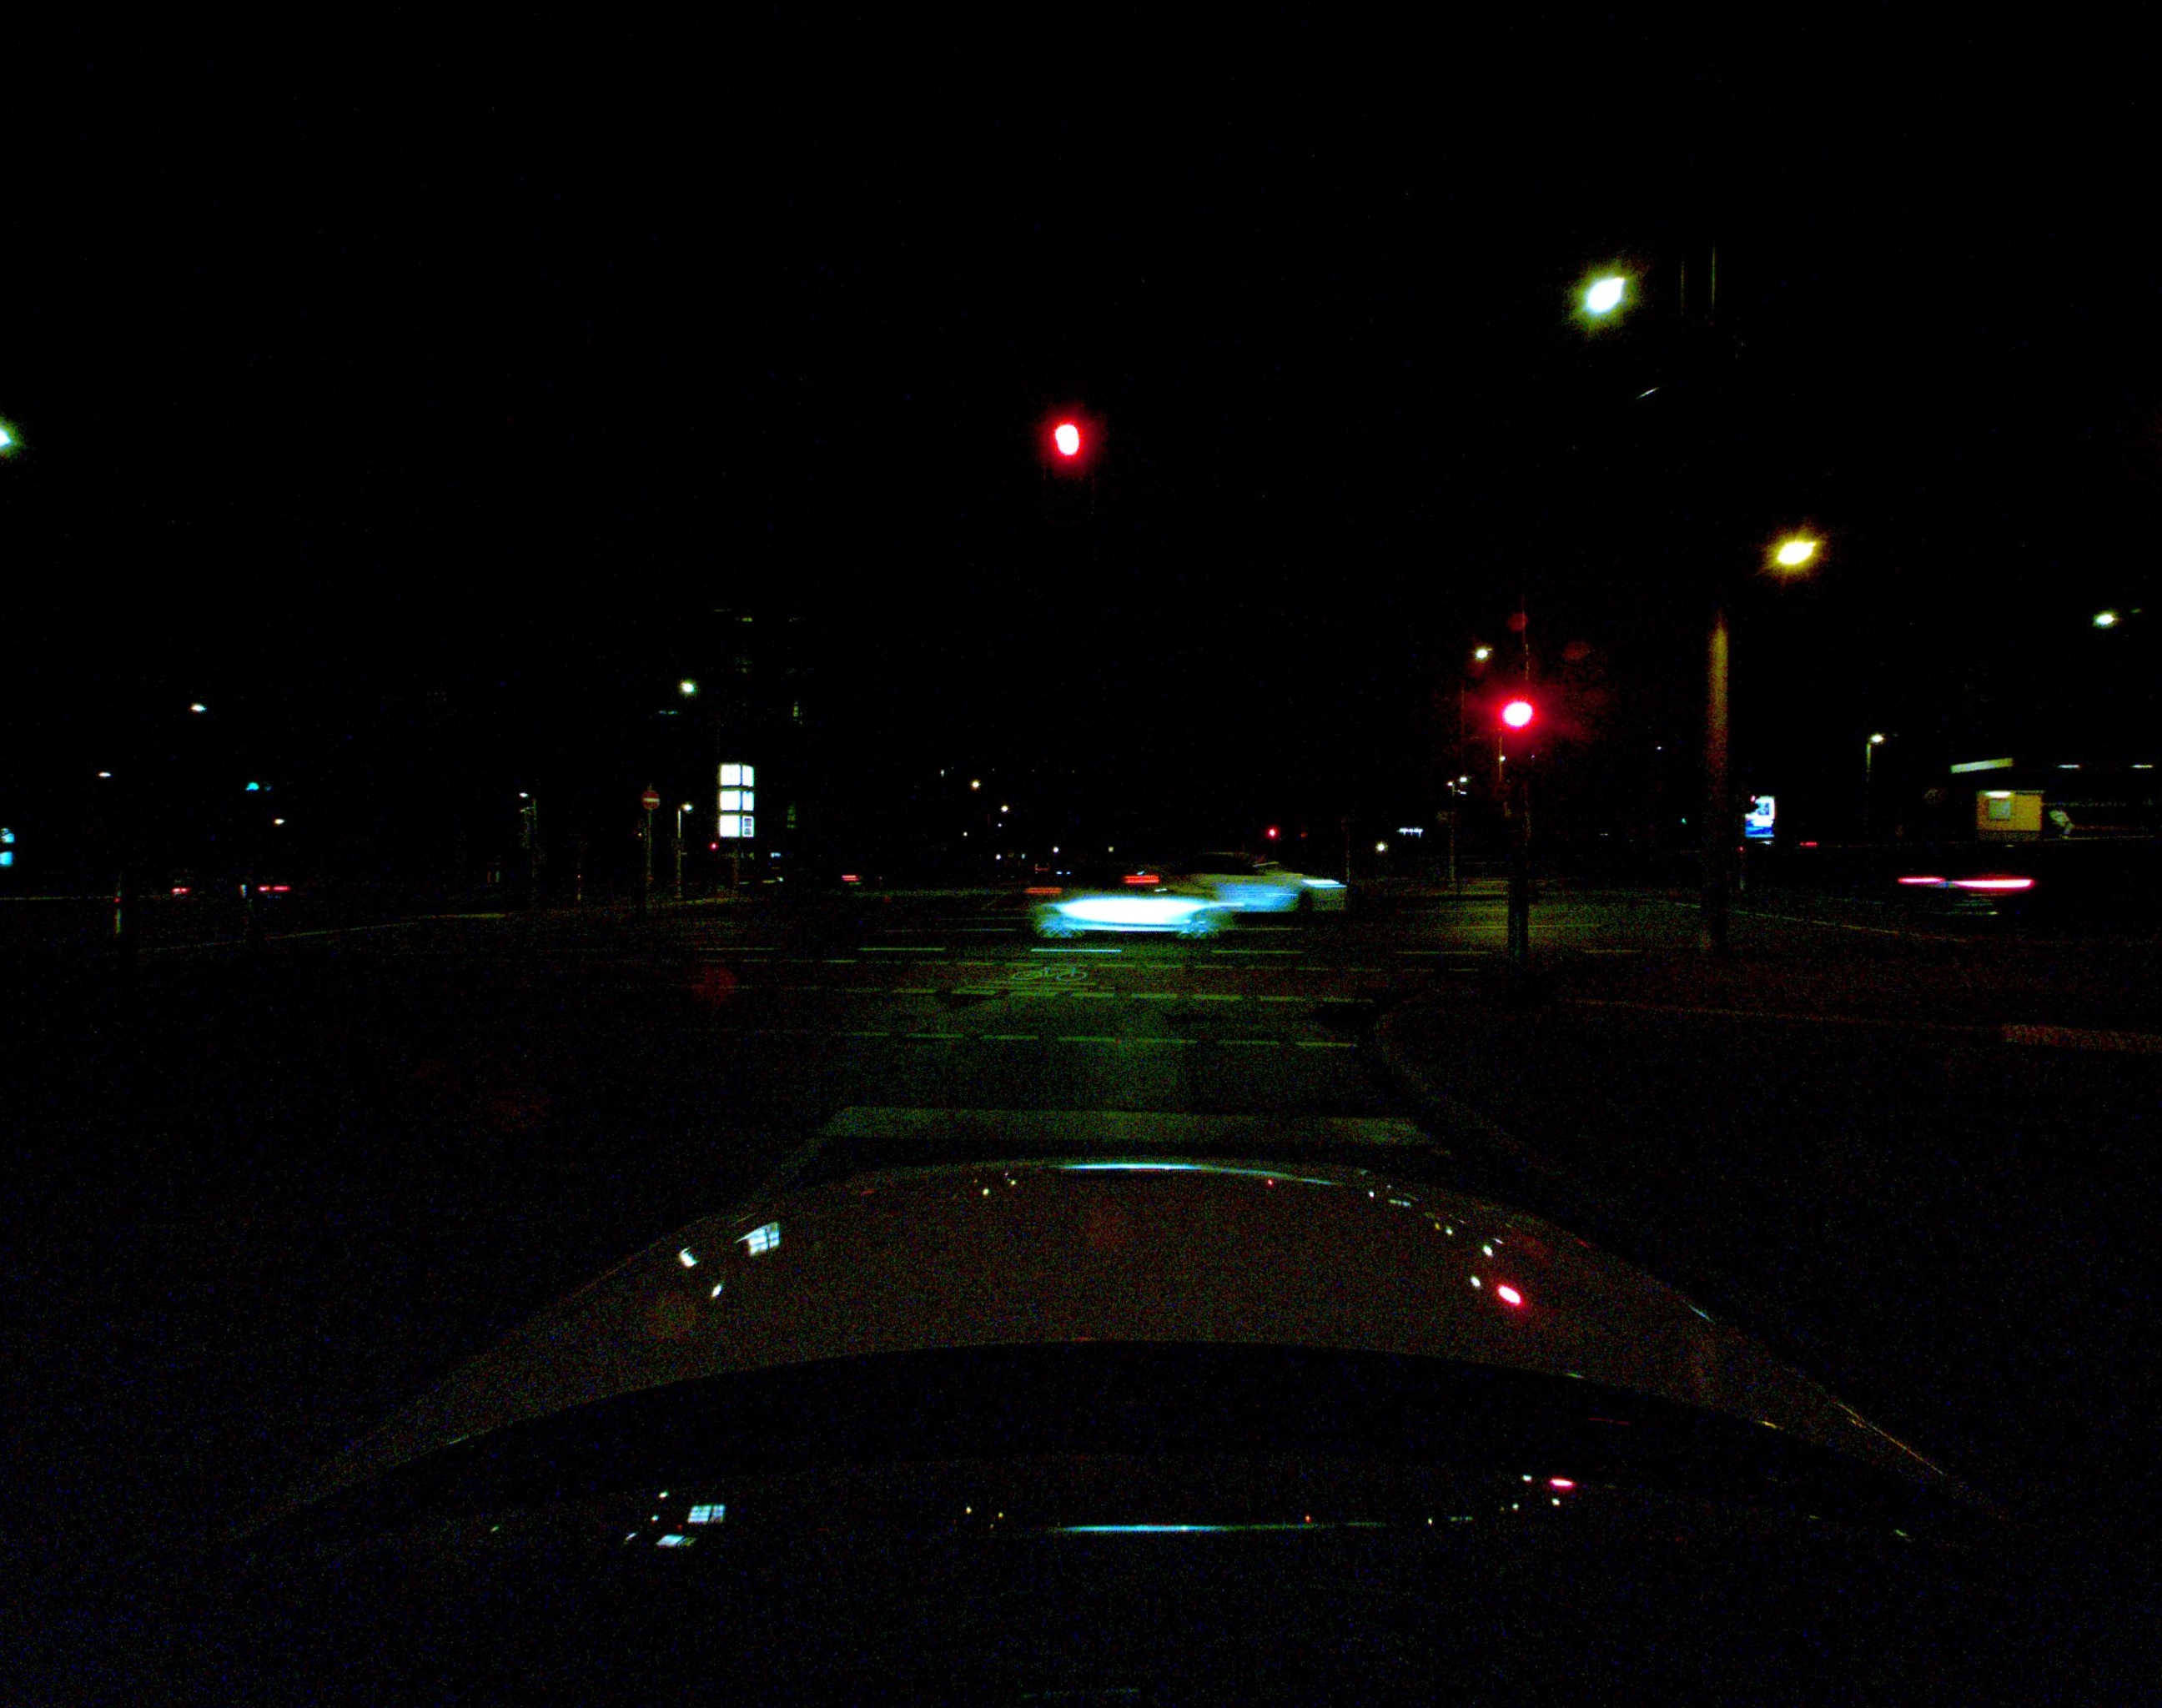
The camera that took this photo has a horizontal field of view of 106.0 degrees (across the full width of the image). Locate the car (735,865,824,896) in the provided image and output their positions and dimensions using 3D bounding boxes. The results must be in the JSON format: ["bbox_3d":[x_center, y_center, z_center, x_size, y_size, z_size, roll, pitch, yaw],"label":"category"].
[{"bbox_3d":[-15.347,1.336,41.549,3.852,1.405,1.771,-2,-1,5],"label":"car"}]

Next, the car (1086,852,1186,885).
[{"bbox_3d":[2.762,0.702,40.361,4.795,1.420,1.854,-2,-1,5],"label":"car"}]

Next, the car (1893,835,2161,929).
[{"bbox_3d":[17.641,0.448,14.258,4.897,1.473,1.747,-1,0,5],"label":"car"}]

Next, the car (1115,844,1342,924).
[{"bbox_3d":[3.313,0.665,18.823,4.897,1.598,1.747,-2,0,5],"label":"car"}]

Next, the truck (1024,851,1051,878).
[{"bbox_3d":[-7.990,1.947,149.256,3.366,4.843,7.865,0,-1,-14],"label":"truck"}]

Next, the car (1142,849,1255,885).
[{"bbox_3d":[5.273,0.574,37.003,4.917,1.420,1.854,-2,-1,5],"label":"car"}]

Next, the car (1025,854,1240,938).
[{"bbox_3d":[1.001,0.767,15.728,3.883,1.437,1.747,-1,0,5],"label":"car"}]

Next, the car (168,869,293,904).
[{"bbox_3d":[-43.476,1.632,41.696,4.551,1.585,1.848,-1,1,3],"label":"car"}]

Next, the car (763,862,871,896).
[{"bbox_3d":[-12.439,1.158,38.467,4.406,1.420,1.854,-2,-1,5],"label":"car"}]

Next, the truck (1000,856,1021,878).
[{"bbox_3d":[-10.491,1.944,120.155,2.419,3.089,6.412,0,-1,-11],"label":"truck"}]

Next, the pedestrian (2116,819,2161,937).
[{"bbox_3d":[15.777,0.311,11.675,0.870,1.656,0.843,-7,-5,42],"label":"pedestrian"}]

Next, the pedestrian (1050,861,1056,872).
[{"bbox_3d":[-5.054,2.245,147.911,0.851,1.912,1.001,0,-1,-16],"label":"pedestrian"}]

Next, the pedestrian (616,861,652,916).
[{"bbox_3d":[-14.089,1.072,25.671,0.671,1.722,0.710,-1,-2,26],"label":"pedestrian"}]

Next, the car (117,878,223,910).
[{"bbox_3d":[-51.194,2.231,45.798,4.212,1.585,1.806,-2,-2,6],"label":"car"}]
